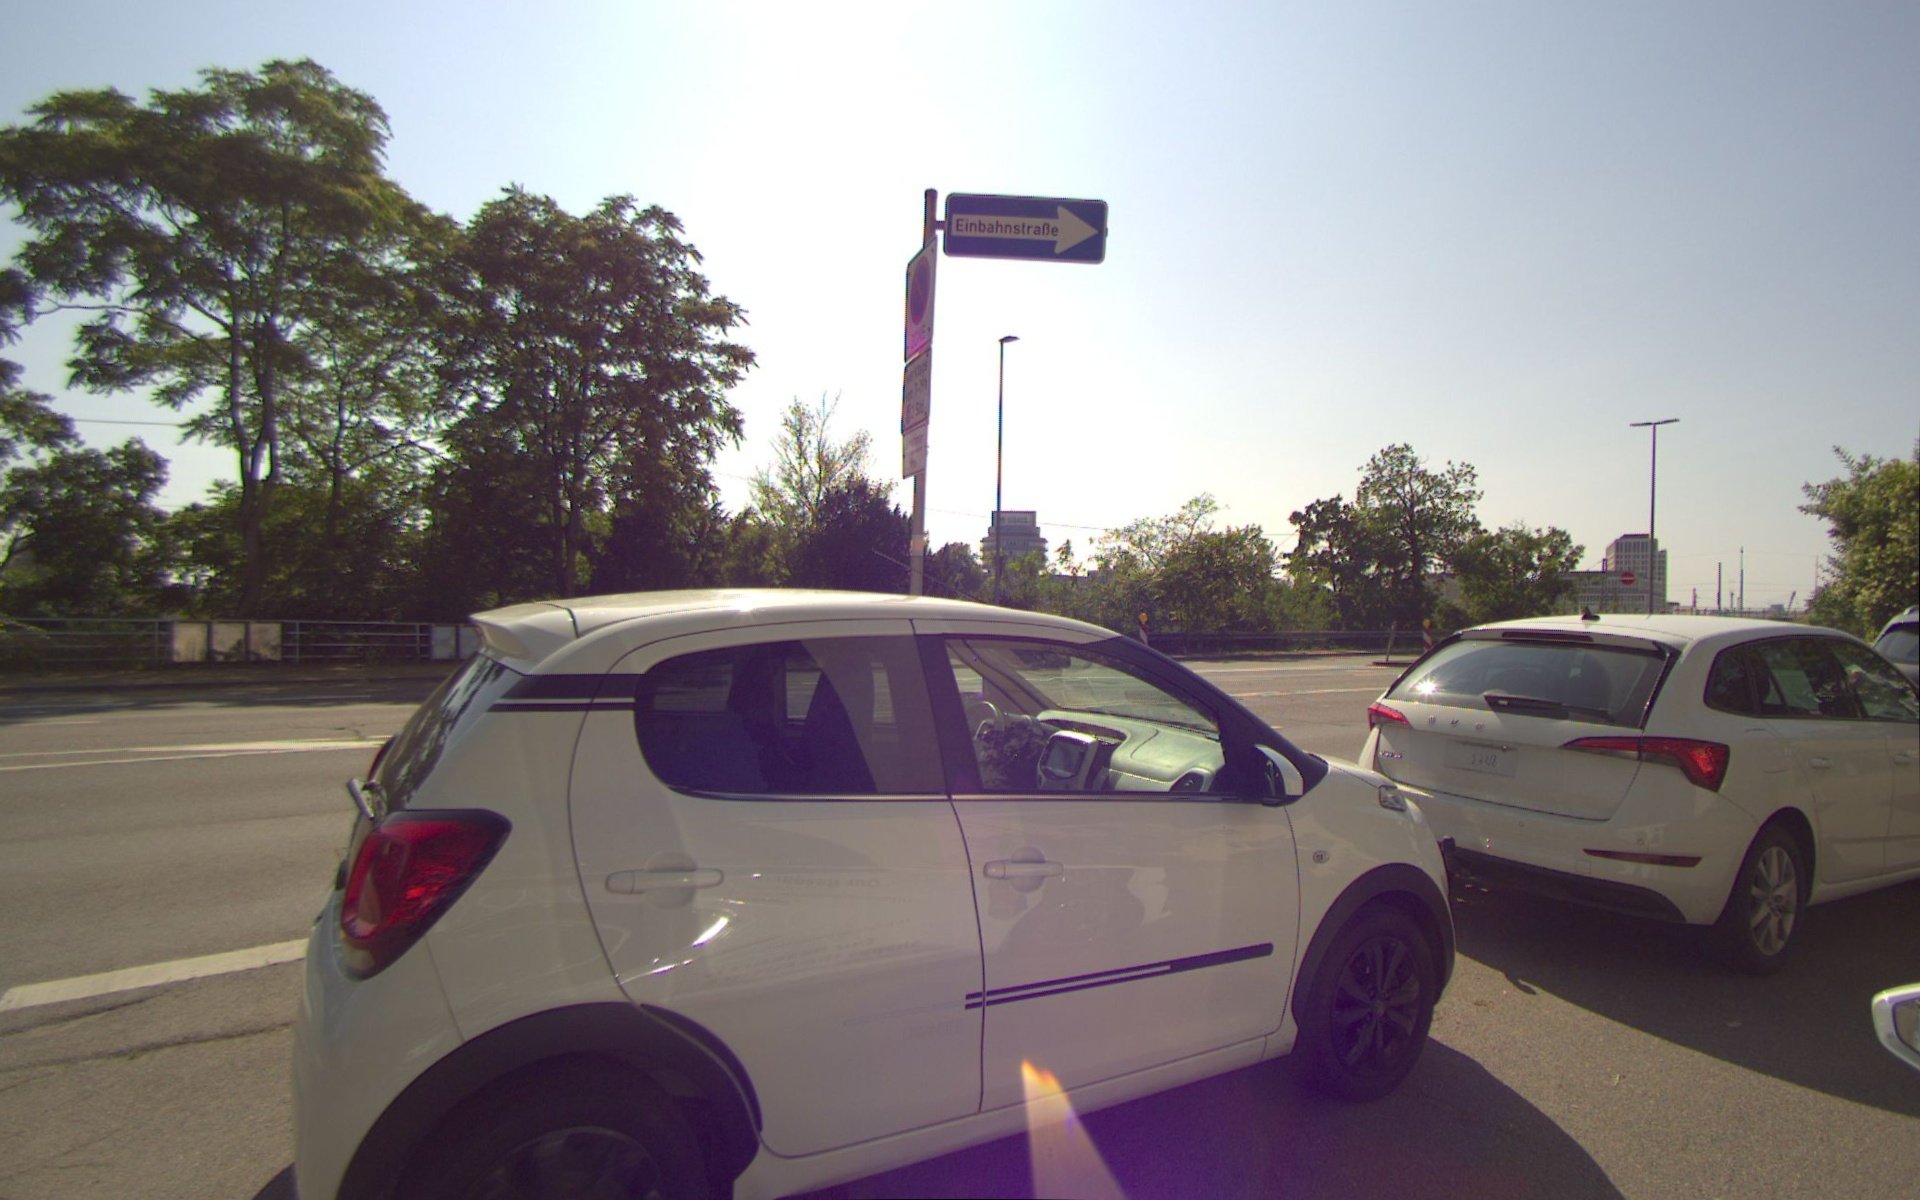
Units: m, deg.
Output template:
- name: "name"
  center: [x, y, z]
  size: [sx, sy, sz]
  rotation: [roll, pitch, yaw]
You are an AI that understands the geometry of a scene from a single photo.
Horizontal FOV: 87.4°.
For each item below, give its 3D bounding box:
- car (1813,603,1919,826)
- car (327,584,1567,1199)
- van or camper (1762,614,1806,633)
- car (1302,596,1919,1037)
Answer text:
- name: "car"
  center: [8.785, 0.838, 8.107]
  size: [4.140, 1.600, 1.762]
  rotation: [1, -1, -32]
- name: "car"
  center: [0.101, 0.749, 3.128]
  size: [3.420, 1.525, 1.612]
  rotation: [1, 1, -30]
- name: "van or camper"
  center: [60.280, 1.720, 73.441]
  size: [4.587, 1.368, 1.456]
  rotation: [1, 0, -37]
- name: "car"
  center: [3.926, 0.797, 5.347]
  size: [4.083, 1.525, 1.713]
  rotation: [1, 2, -30]
